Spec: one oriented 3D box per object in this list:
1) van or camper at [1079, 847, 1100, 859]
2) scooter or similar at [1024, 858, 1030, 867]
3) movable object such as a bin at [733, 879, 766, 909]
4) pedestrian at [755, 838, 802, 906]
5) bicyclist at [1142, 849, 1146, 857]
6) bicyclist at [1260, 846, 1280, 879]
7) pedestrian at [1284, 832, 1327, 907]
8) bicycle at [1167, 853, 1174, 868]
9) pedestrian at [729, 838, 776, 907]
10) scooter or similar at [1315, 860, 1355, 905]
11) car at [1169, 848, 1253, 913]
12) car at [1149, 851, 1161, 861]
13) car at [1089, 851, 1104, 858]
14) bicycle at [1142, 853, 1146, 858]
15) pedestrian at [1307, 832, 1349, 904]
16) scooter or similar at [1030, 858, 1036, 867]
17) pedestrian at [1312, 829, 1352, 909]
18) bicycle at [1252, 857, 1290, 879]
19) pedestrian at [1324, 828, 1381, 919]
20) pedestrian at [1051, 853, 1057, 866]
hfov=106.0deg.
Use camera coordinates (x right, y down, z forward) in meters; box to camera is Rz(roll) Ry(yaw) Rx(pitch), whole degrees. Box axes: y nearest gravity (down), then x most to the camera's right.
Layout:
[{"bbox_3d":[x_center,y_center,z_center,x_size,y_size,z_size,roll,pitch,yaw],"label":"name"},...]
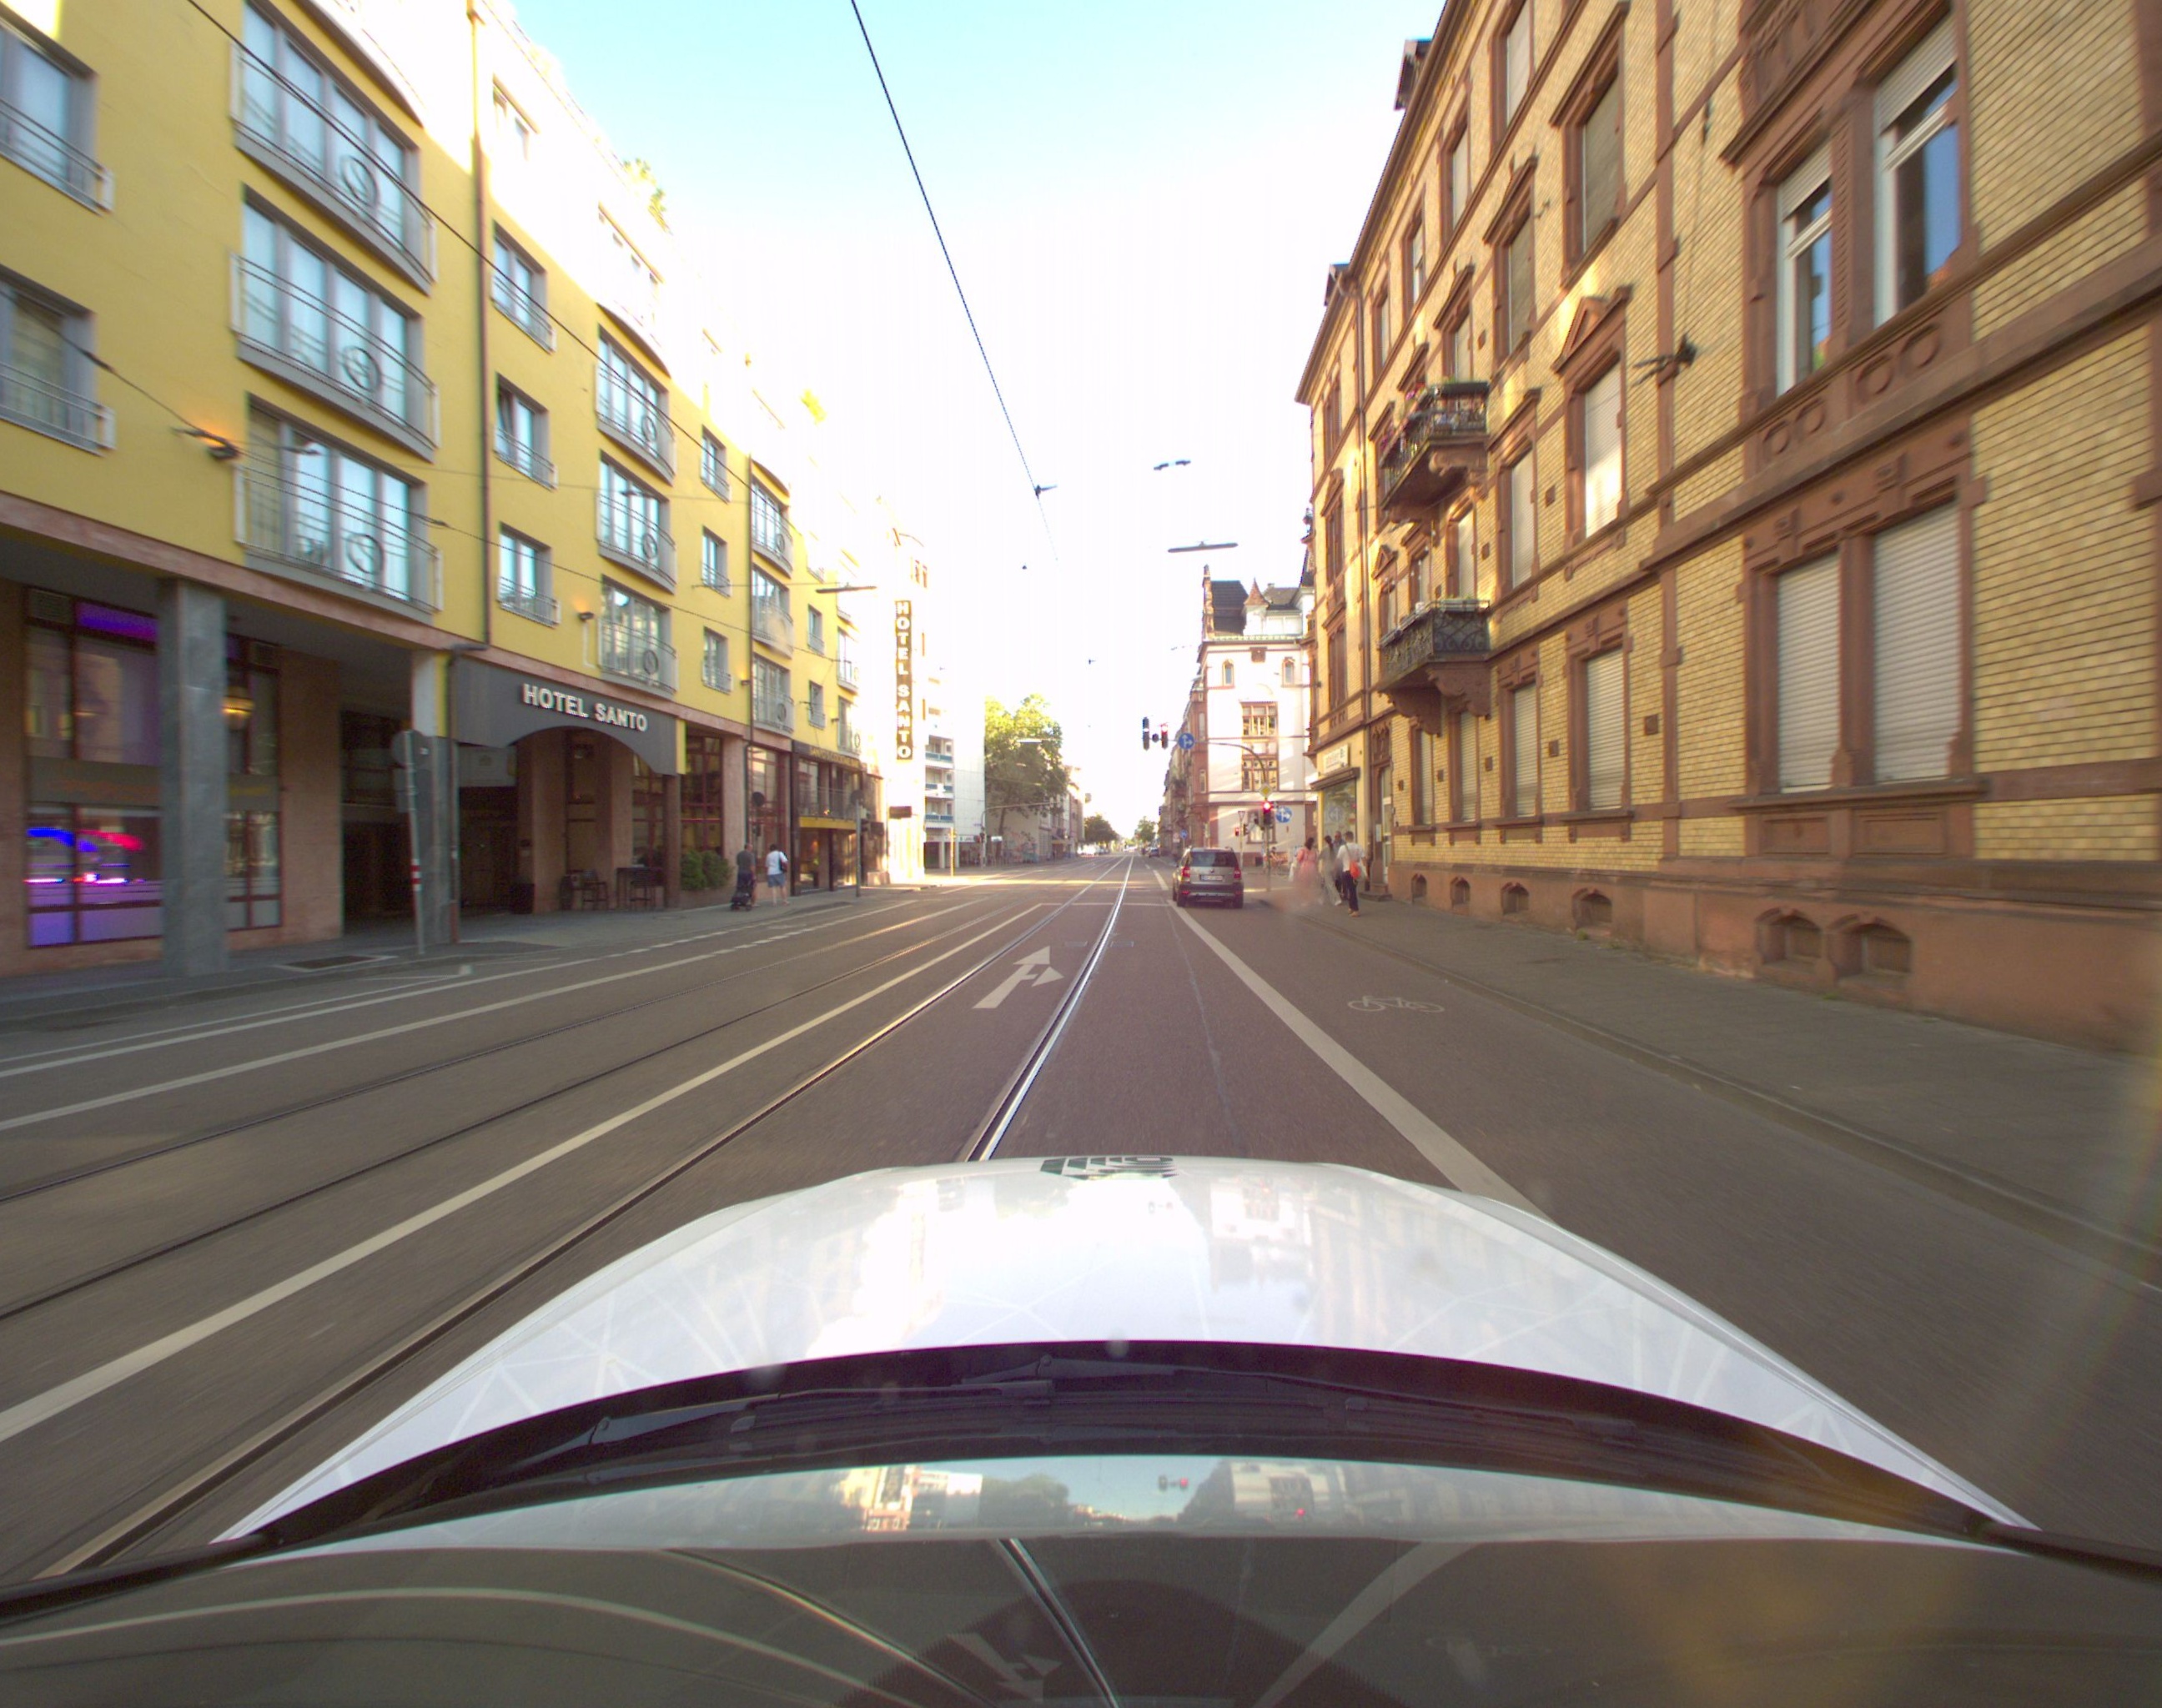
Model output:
[{"bbox_3d":[2.096,-0.254,195.675,4.660,2.563,1.982,2,-1,-27],"label":"van or camper"},{"bbox_3d":[-6.411,1.015,96.947,0.514,1.045,1.479,1,-1,2],"label":"scooter or similar"},{"bbox_3d":[-8.722,1.055,21.438,0.381,0.716,0.842,6,0,5],"label":"movable object such as a bin"},{"bbox_3d":[-8.619,0.499,23.243,0.748,1.818,1.047,6,0,4],"label":"pedestrian"},{"bbox_3d":[12.385,-0.106,159.999,0.572,1.554,0.596,1,-1,5],"label":"bicyclist"},{"bbox_3d":[9.620,0.412,41.380,0.733,1.634,0.612,2,-2,35],"label":"bicyclist"},{"bbox_3d":[5.613,0.378,20.415,0.802,1.800,0.762,-3,0,2],"label":"pedestrian"},{"bbox_3d":[8.315,0.590,75.484,0.650,1.323,2.180,1,-1,6],"label":"bicycle"},{"bbox_3d":[-8.956,0.490,22.245,0.794,1.771,0.750,6,0,4],"label":"pedestrian"},{"bbox_3d":[6.418,0.720,20.614,0.802,1.070,0.522,-4,-1,4],"label":"scooter or similar"},{"bbox_3d":[3.621,0.705,23.307,1.985,1.618,4.004,2,0,4],"label":"car"},{"bbox_3d":[13.191,0.435,144.895,1.941,1.684,4.006,1,0,5],"label":"car"},{"bbox_3d":[4.404,0.169,231.276,4.001,2.014,1.986,1,-1,-21],"label":"car"},{"bbox_3d":[12.380,0.305,159.988,0.572,1.030,1.897,1,-1,5],"label":"bicycle"},{"bbox_3d":[6.448,0.366,21.274,0.802,1.800,0.762,-3,0,4],"label":"pedestrian"},{"bbox_3d":[-5.725,1.029,96.943,0.514,1.057,1.479,1,-1,2],"label":"scooter or similar"},{"bbox_3d":[6.162,0.357,20.009,0.688,1.908,0.671,-3,0,2],"label":"pedestrian"},{"bbox_3d":[9.647,0.716,41.372,1.698,1.034,0.602,2,-2,34],"label":"bicycle"},{"bbox_3d":[5.699,0.397,17.157,0.802,1.800,1.092,-3,0,2],"label":"pedestrian"},{"bbox_3d":[-3.445,0.708,103.655,0.698,1.728,0.648,1,-1,4],"label":"pedestrian"}]
